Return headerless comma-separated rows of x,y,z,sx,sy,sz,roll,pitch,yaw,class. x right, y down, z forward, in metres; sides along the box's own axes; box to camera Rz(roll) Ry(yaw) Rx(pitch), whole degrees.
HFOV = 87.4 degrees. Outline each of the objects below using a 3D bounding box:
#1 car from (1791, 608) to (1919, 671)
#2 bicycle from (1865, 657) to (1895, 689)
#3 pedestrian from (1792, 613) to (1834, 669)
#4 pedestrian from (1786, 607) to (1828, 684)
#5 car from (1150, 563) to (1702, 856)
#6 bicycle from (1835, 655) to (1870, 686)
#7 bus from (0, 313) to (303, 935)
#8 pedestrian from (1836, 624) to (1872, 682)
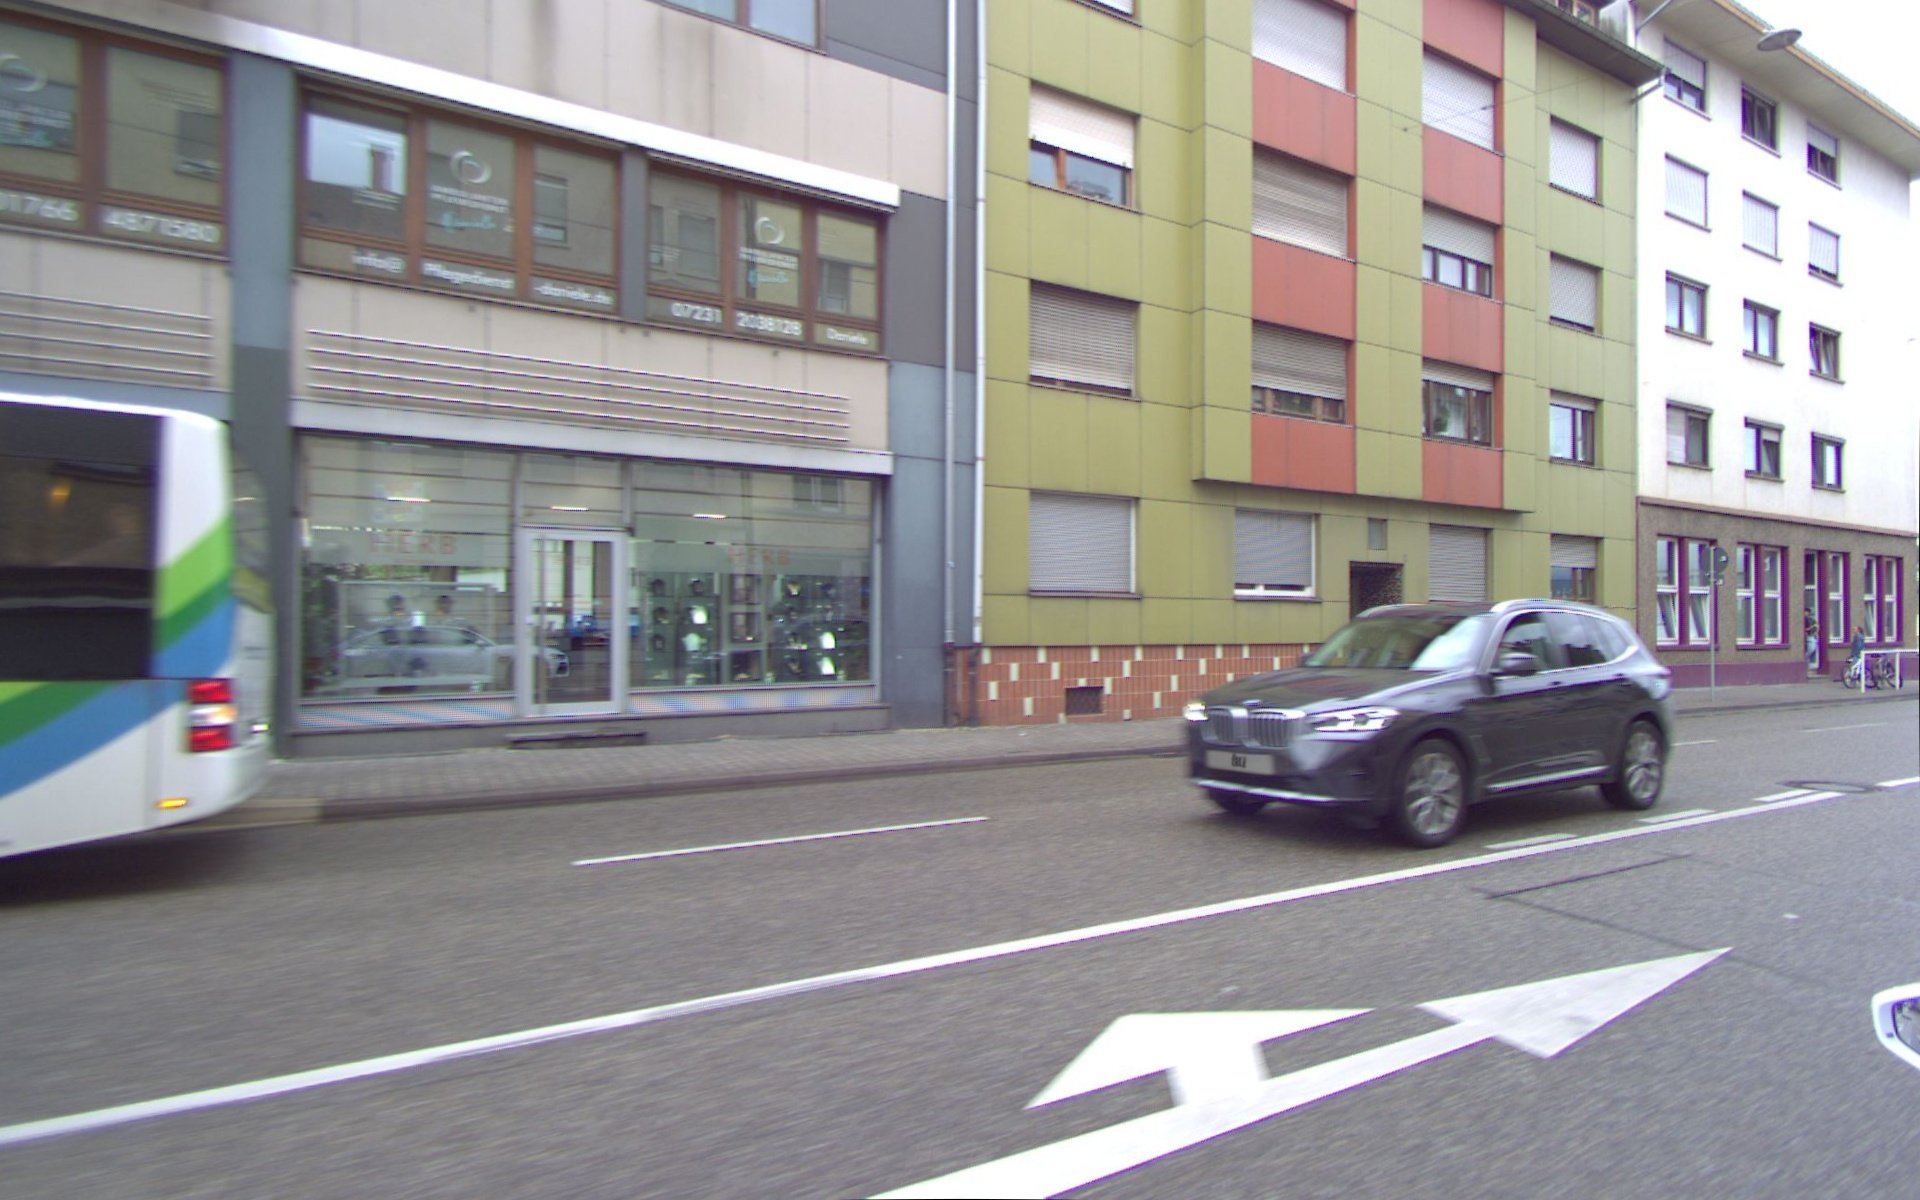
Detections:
36.297,1.560,39.905,4.940,2.381,1.988,-1,-2,44,car
24.024,1.897,26.226,1.098,0.793,0.263,2,-2,-30,bicycle
24.436,1.170,28.783,0.582,1.598,0.770,1,-2,-30,pedestrian
23.995,1.282,28.464,0.722,2.127,0.707,1,-2,-33,pedestrian
3.876,0.747,8.139,4.522,1.780,1.921,2,-2,-32,car
23.339,1.828,26.266,1.405,0.793,0.263,2,-2,-30,bicycle
-8.664,0.065,4.637,9.184,3.230,2.713,2,-2,-30,bus
24.719,1.448,27.779,0.732,1.574,0.571,2,-2,-33,pedestrian
